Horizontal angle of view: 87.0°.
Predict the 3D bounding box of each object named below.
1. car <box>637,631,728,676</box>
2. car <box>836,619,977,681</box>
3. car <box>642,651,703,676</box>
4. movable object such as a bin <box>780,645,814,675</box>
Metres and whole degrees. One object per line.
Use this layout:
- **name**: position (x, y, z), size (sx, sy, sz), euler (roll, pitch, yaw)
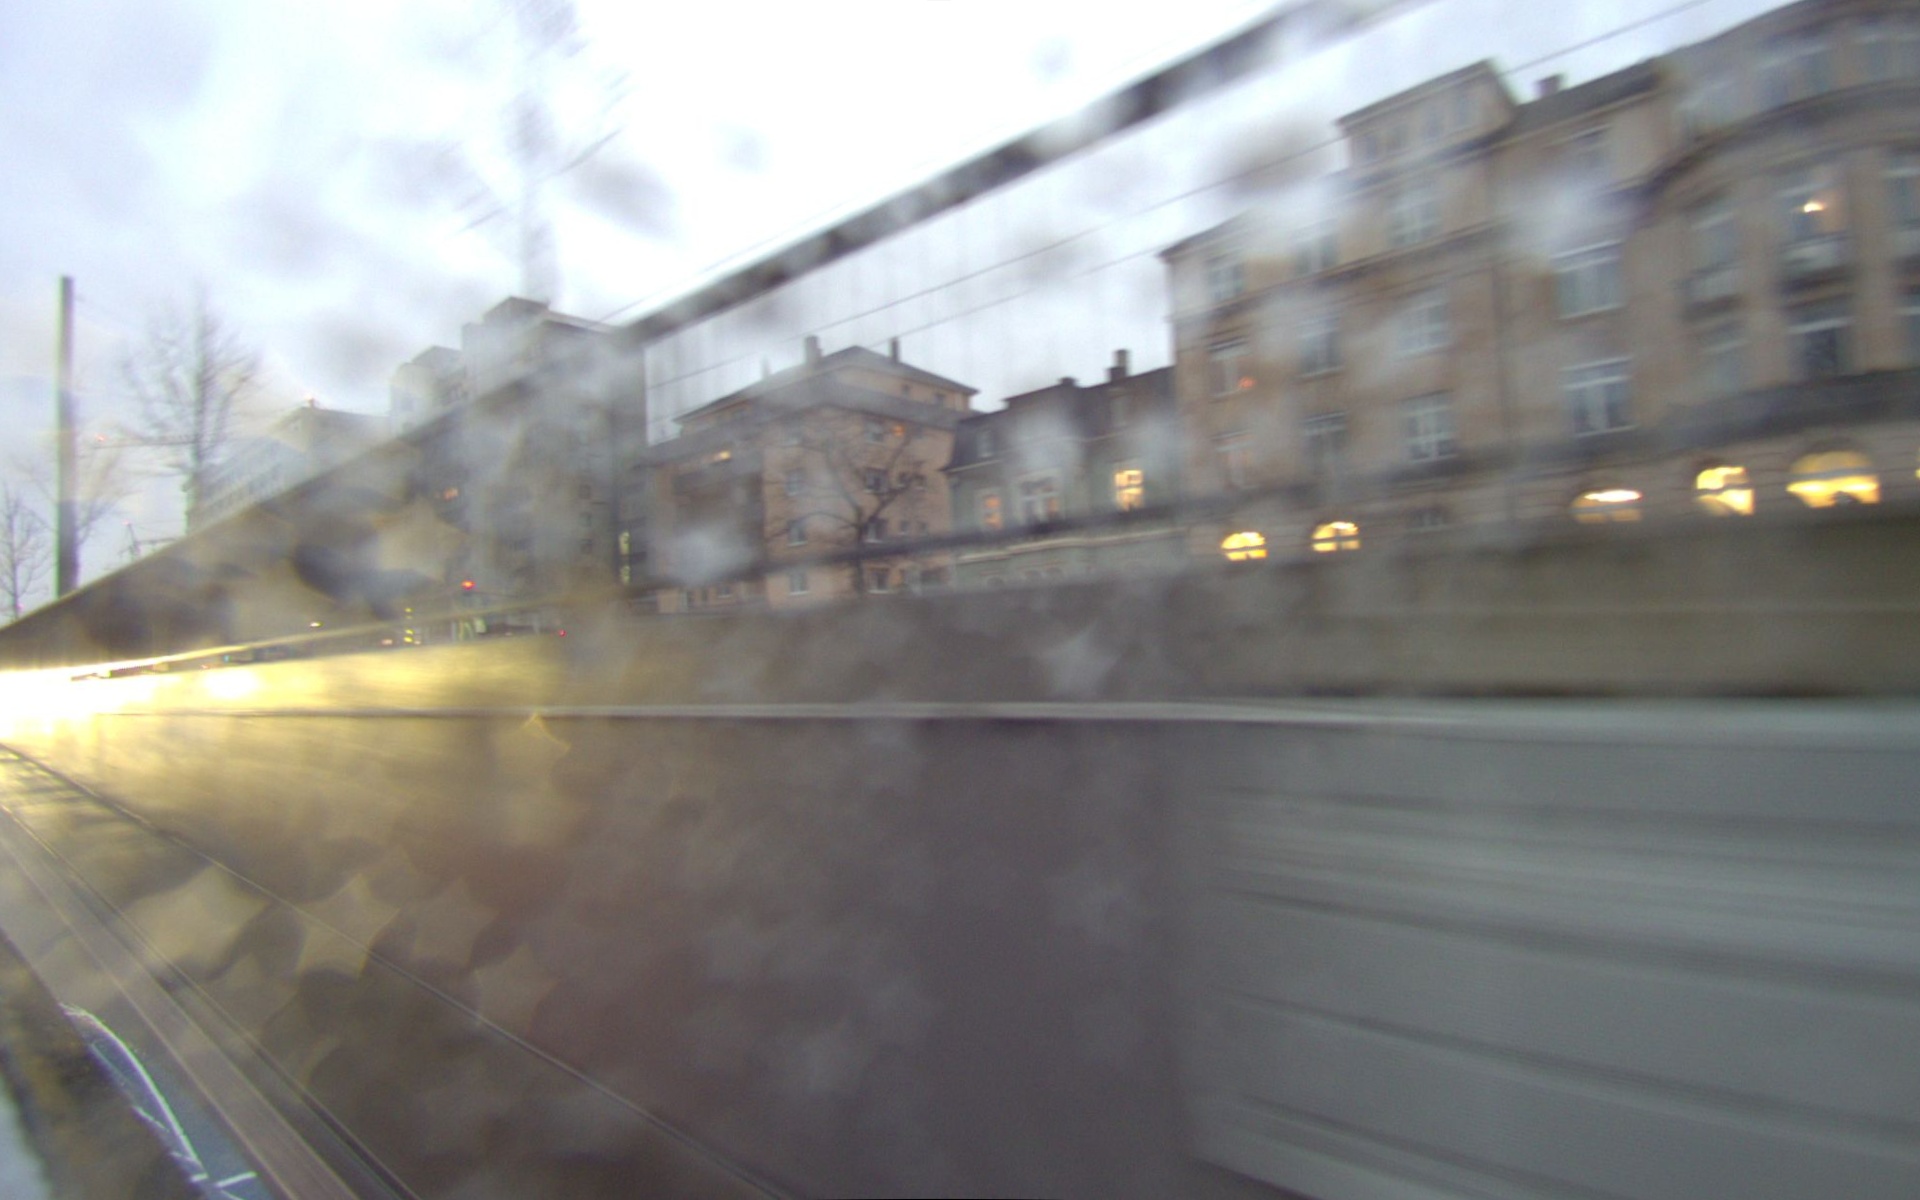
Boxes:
- **car**: position (-11.873, 2.295, 43.126), size (1.970, 1.706, 4.113), euler (2, -6, -45)
- **car**: position (-1.958, 1.809, 35.838), size (4.908, 1.948, 1.973), euler (-6, -5, 40)
- **car**: position (-20.362, 4.487, 71.722), size (1.777, 1.564, 3.786), euler (-5, -4, 41)
- **movable object such as a bin**: position (-8.685, 3.201, 53.973), size (1.423, 1.492, 1.096), euler (-6, -5, 40)
